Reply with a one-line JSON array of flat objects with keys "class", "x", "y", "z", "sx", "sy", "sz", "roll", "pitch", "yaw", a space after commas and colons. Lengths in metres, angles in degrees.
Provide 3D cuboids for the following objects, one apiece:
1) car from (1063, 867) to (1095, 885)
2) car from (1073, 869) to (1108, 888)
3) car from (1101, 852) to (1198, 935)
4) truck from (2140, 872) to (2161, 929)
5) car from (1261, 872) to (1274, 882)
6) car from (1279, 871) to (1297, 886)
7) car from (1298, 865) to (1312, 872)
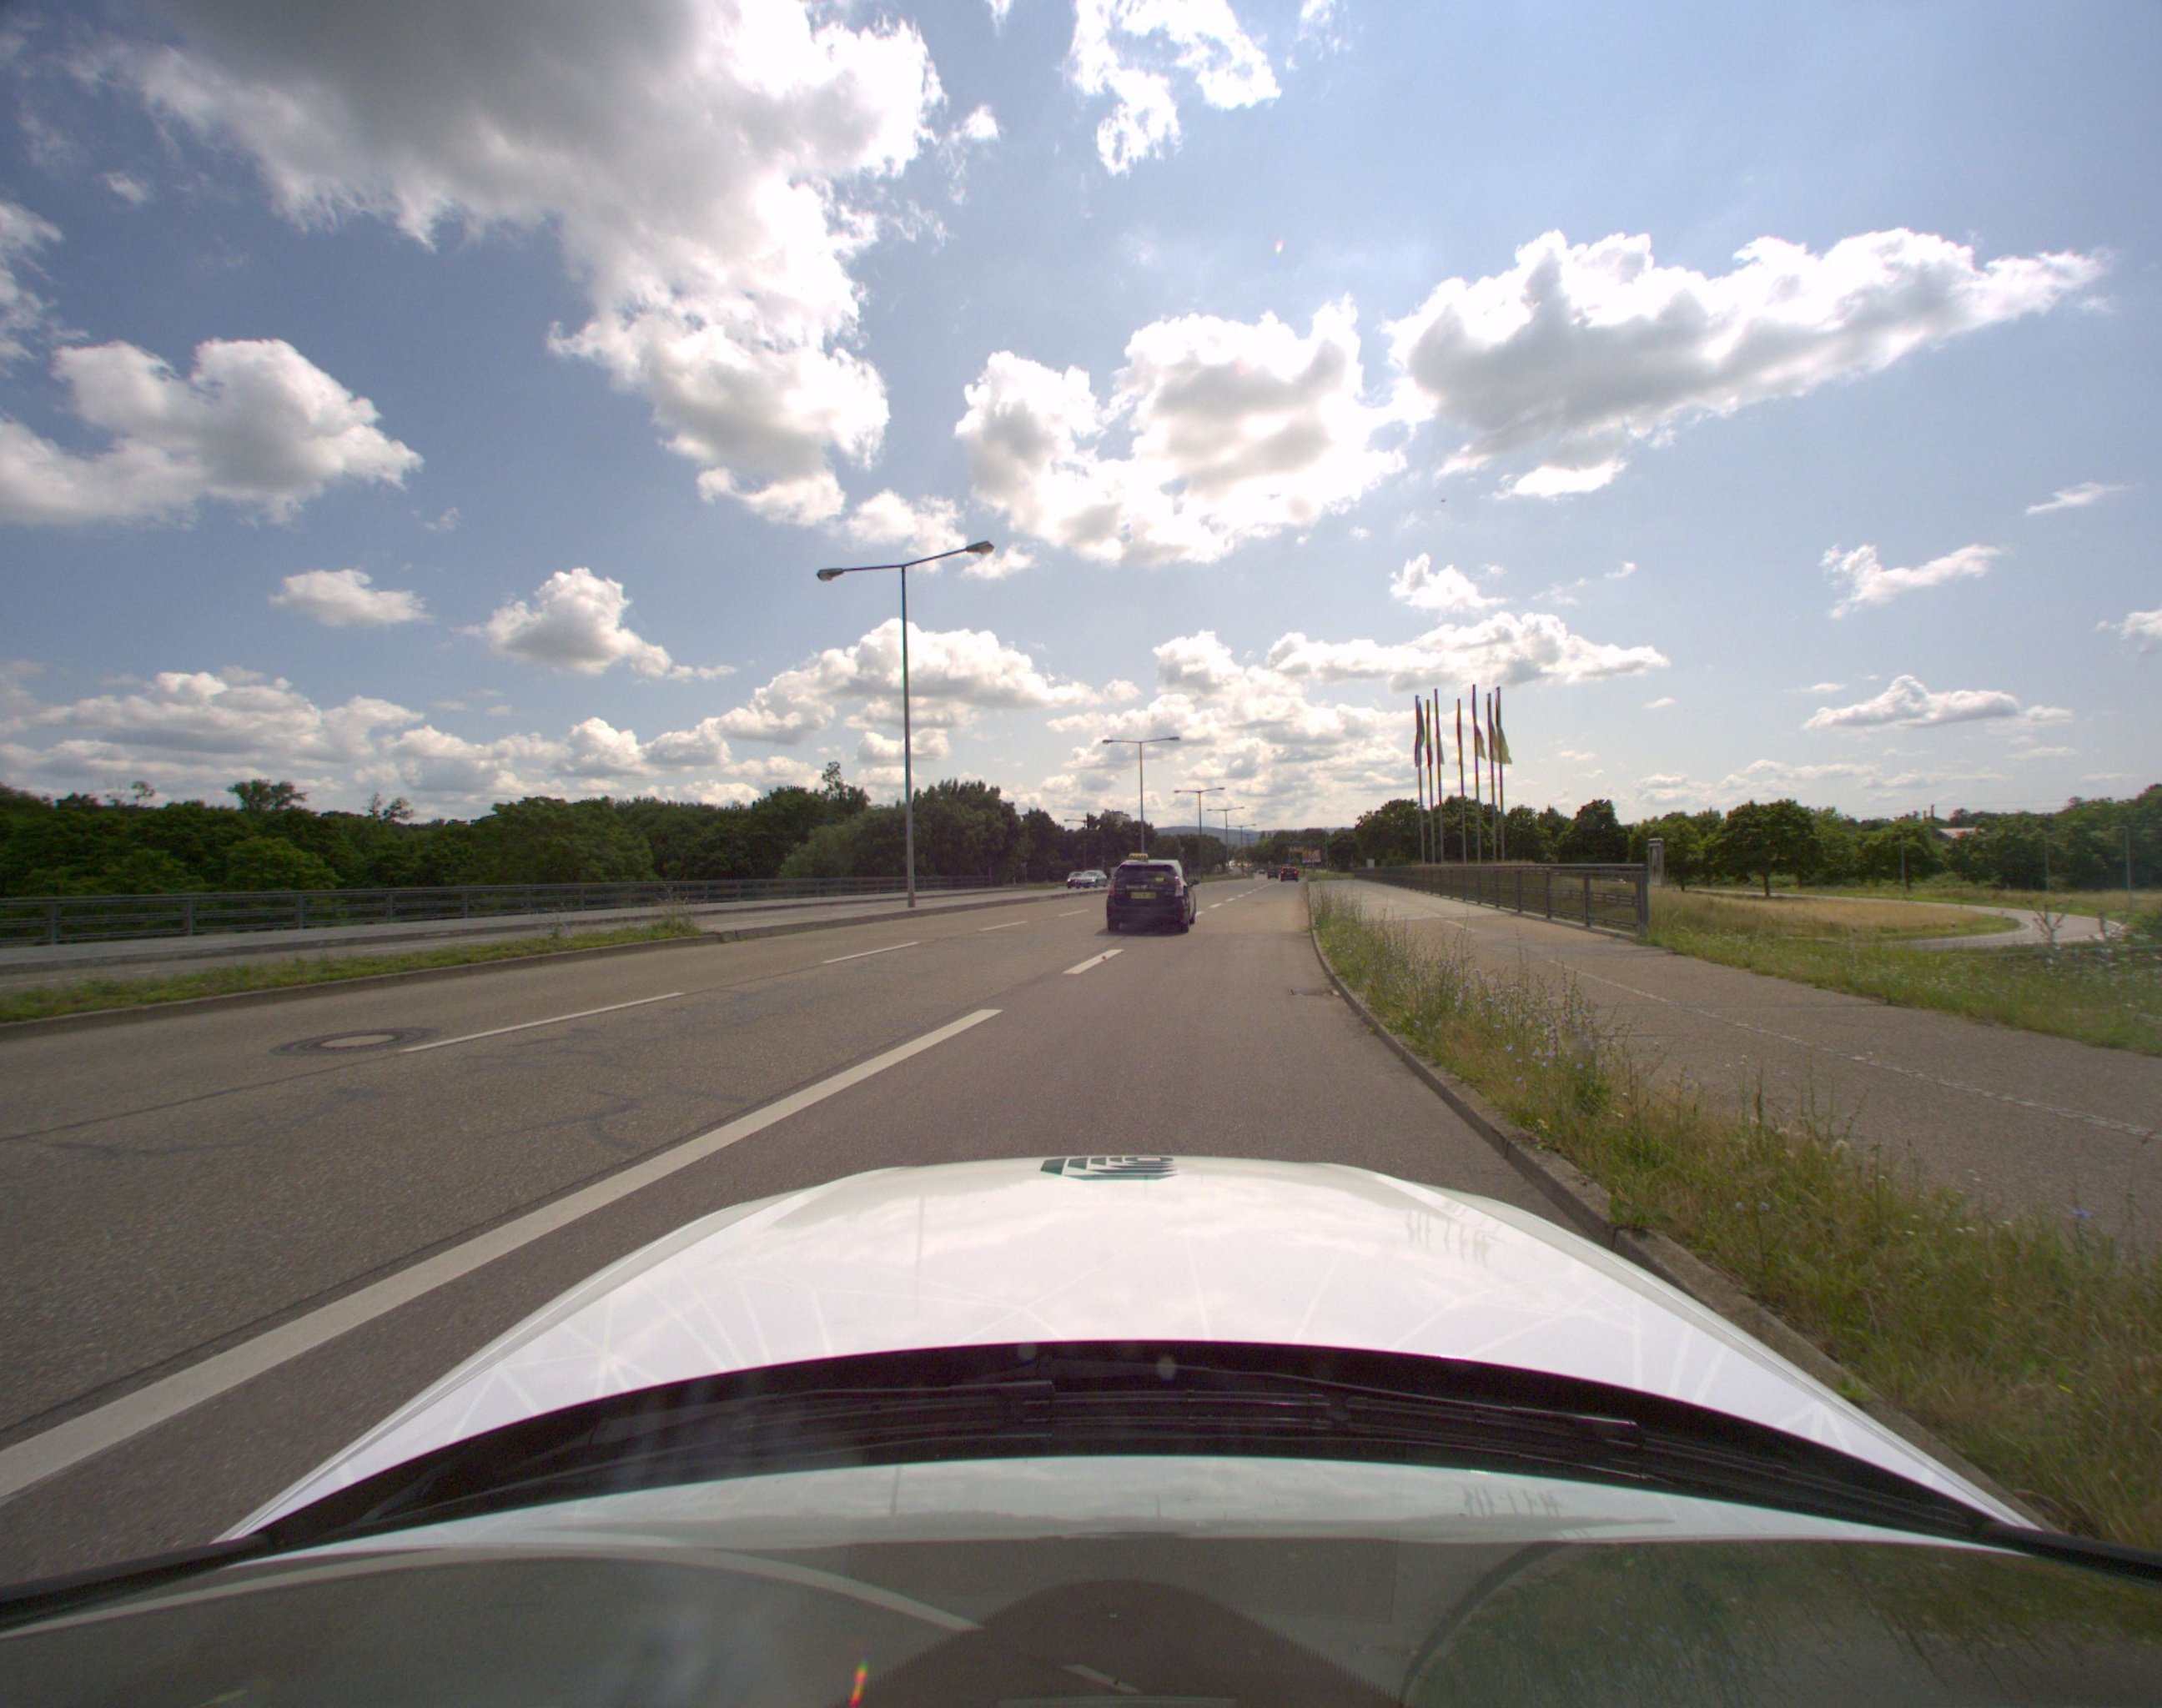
[{"class": "car", "x": -0.149, "y": 2.130, "z": 79.819, "sx": 2.074, "sy": 1.626, "sz": 4.566, "roll": 0, "pitch": 0, "yaw": 13}, {"class": "car", "x": 0.818, "y": 1.995, "z": 67.646, "sx": 1.651, "sy": 1.413, "sz": 4.569, "roll": -4, "pitch": -1, "yaw": 16}, {"class": "car", "x": 1.672, "y": 0.801, "z": 18.681, "sx": 1.768, "sy": 1.684, "sz": 4.012, "roll": 0, "pitch": 0, "yaw": 11}, {"class": "truck", "x": 89.631, "y": 3.659, "z": 63.646, "sx": 9.587, "sy": 4.403, "sz": 4.009, "roll": 0, "pitch": 0, "yaw": -6}, {"class": "car", "x": 30.789, "y": 3.792, "z": 134.737, "sx": 1.980, "sy": 1.662, "sz": 4.013, "roll": 0, "pitch": 0, "yaw": 12}, {"class": "car", "x": 25.098, "y": 2.916, "z": 98.813, "sx": 1.980, "sy": 1.662, "sz": 4.013, "roll": 0, "pitch": 0, "yaw": 12}, {"class": "car", "x": 53.386, "y": 3.447, "z": 194.010, "sx": 1.992, "sy": 1.662, "sz": 3.990, "roll": 0, "pitch": 0, "yaw": -7}]
